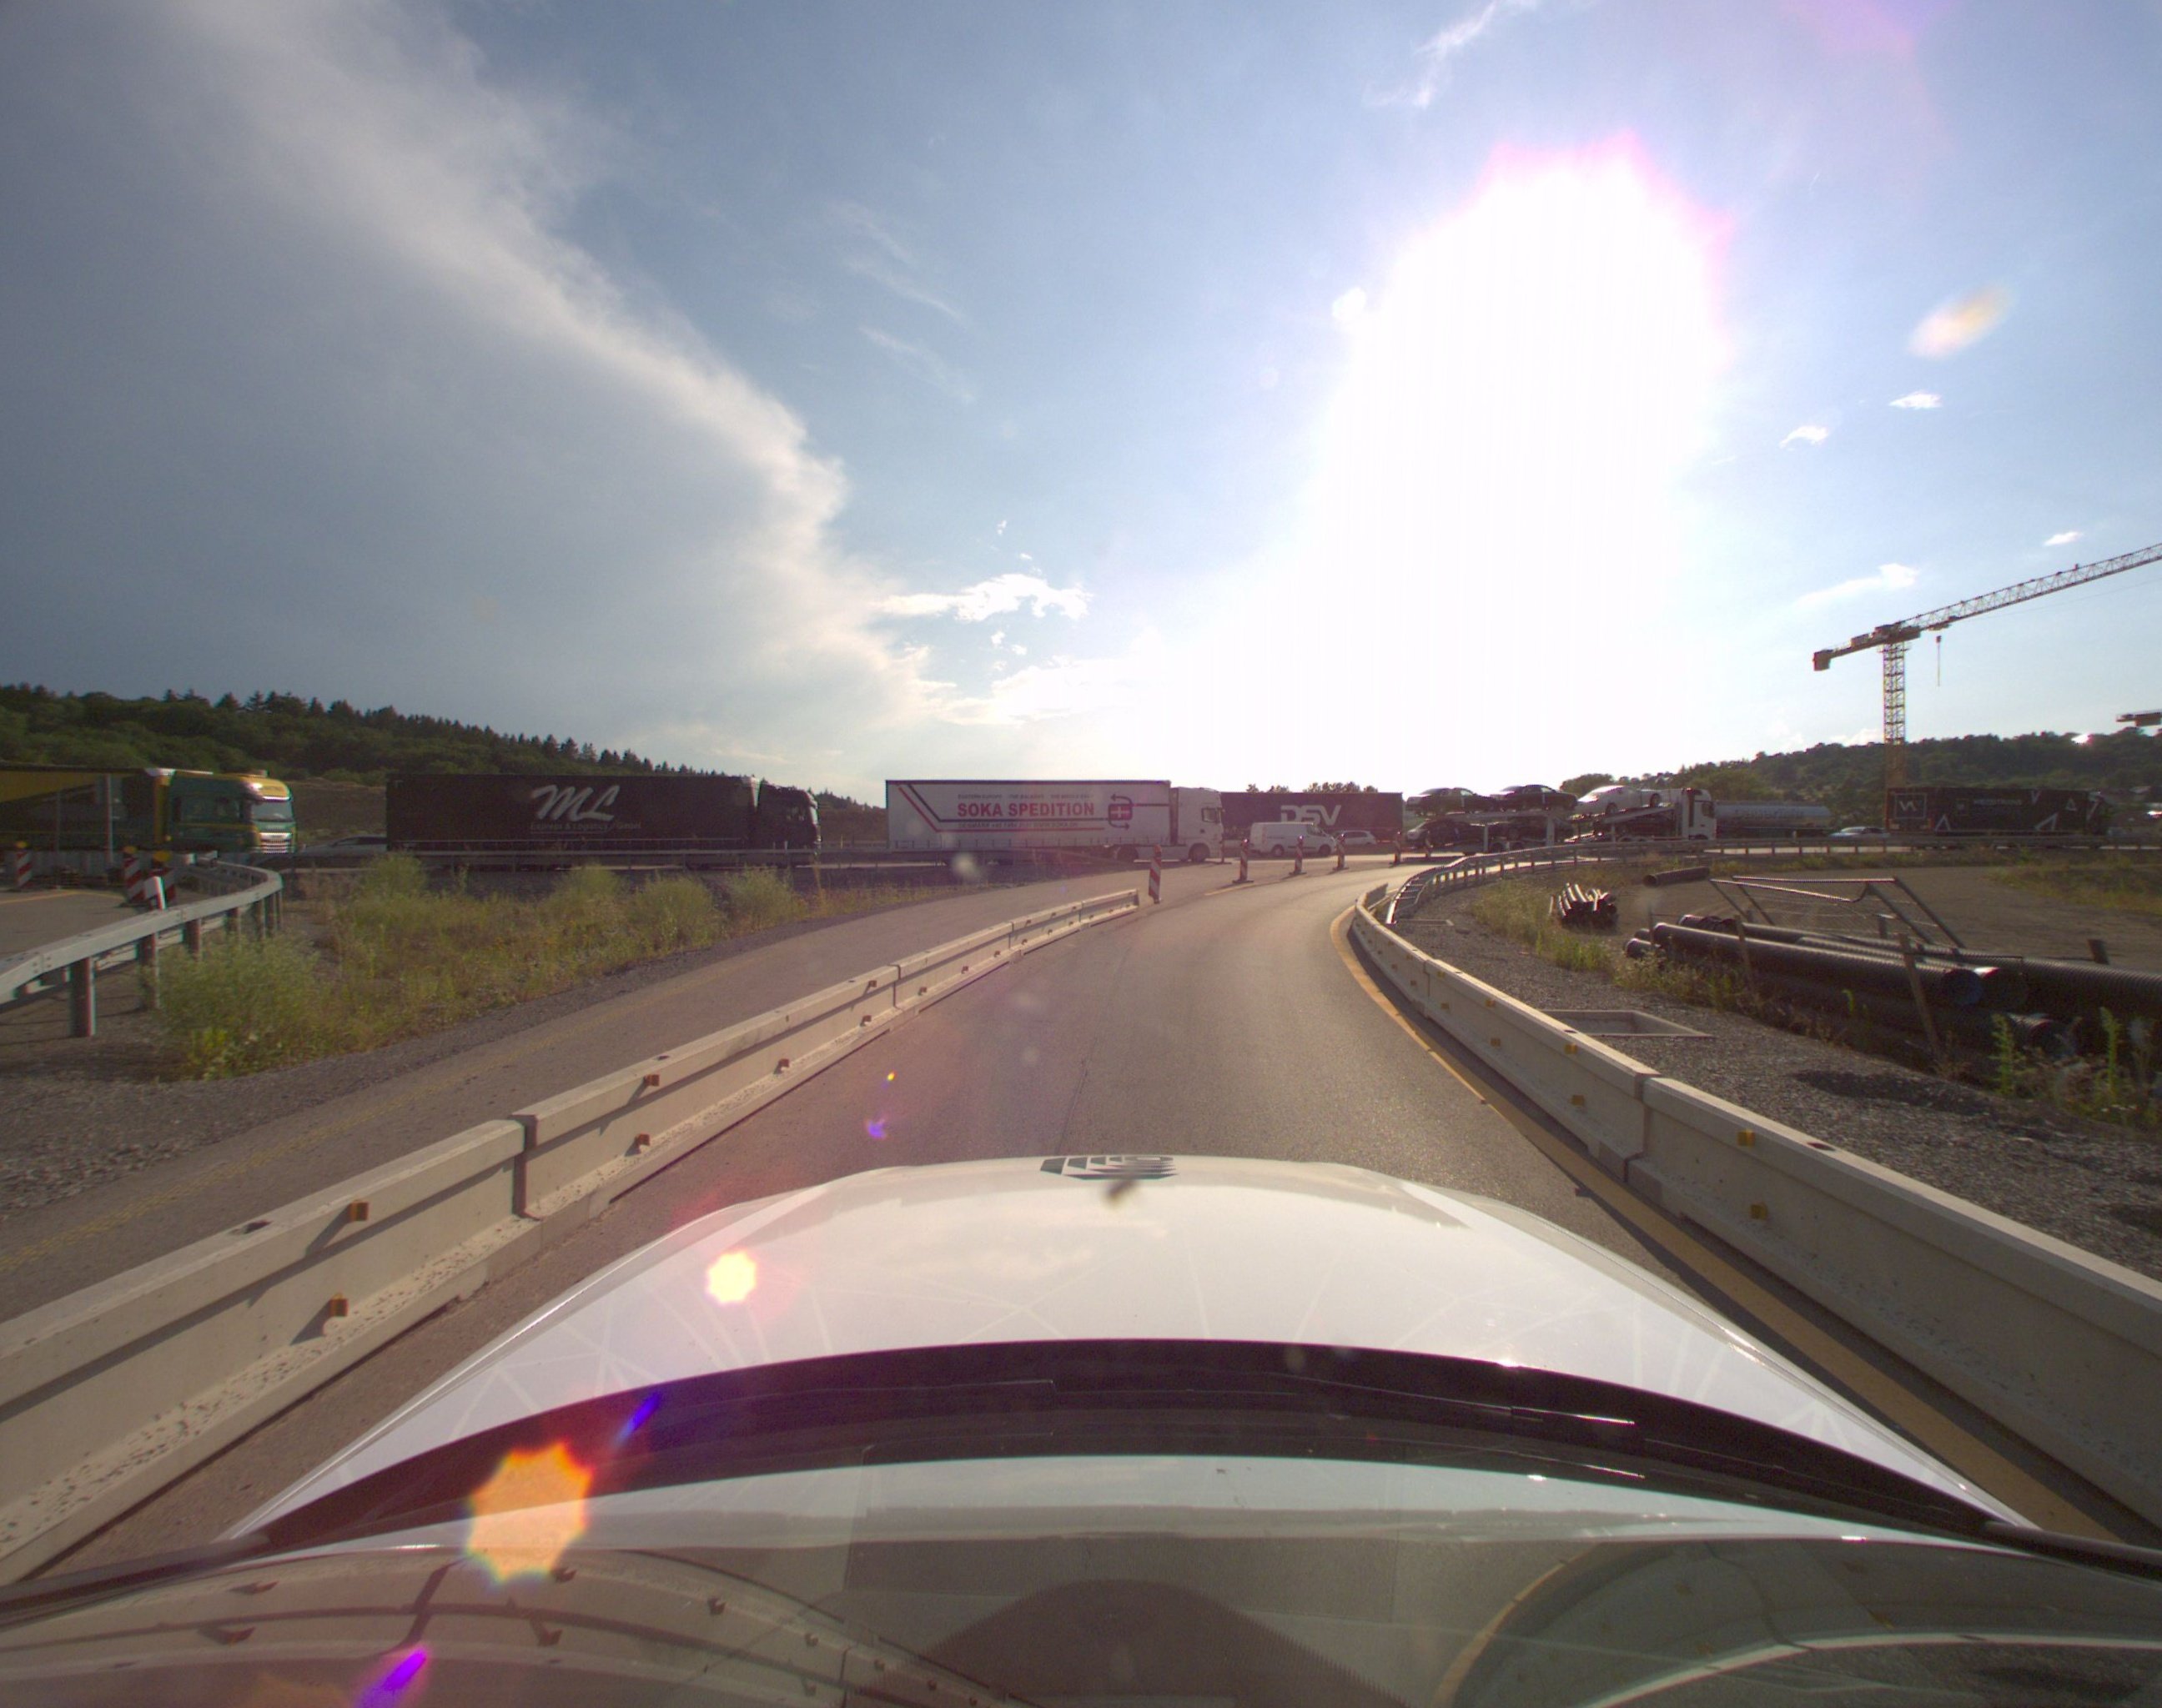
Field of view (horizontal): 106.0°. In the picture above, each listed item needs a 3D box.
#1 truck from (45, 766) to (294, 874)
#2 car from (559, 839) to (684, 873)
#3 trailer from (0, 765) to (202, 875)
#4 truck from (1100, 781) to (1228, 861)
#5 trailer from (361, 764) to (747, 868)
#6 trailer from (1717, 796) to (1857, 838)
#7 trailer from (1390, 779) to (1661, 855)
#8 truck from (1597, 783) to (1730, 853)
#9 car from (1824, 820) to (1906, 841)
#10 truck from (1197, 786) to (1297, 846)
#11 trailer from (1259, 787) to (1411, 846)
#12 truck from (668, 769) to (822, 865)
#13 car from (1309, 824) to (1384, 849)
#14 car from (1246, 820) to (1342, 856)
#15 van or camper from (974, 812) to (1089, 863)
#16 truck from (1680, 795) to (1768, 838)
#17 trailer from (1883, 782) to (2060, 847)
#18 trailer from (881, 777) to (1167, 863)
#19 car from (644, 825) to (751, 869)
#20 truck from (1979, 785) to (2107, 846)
[{"bbox_3d":[-34.942,-1.279,31.472,5.998,3.901,2.478,0,1,-13],"label":"truck"},{"bbox_3d":[-22.863,0.079,40.728,4.967,1.500,2.027,-1,3,-13],"label":"car"},{"bbox_3d":[-41.810,-1.240,29.843,13.944,3.958,2.478,0,1,-13],"label":"trailer"},{"bbox_3d":[4.165,-1.622,41.206,5.999,3.878,2.477,0,1,-14],"label":"truck"},{"bbox_3d":[-21.751,-1.556,34.723,13.610,4.061,2.476,0,1,-15],"label":"trailer"},{"bbox_3d":[54.980,-2.849,63.417,10.954,3.134,2.138,0,-1,-13],"label":"trailer"},{"bbox_3d":[25.339,-2.013,46.290,15.713,3.996,2.854,0,1,-14],"label":"trailer"},{"bbox_3d":[34.703,-2.093,48.551,6.610,3.996,2.845,0,1,-14],"label":"truck"},{"bbox_3d":[58.817,-1.761,61.150,4.967,1.500,2.027,-1,3,-13],"label":"car"},{"bbox_3d":[10.845,-2.443,53.436,5.675,3.727,2.993,0,0,-13],"label":"truck"},{"bbox_3d":[17.087,-2.489,54.858,9.546,3.752,3.004,0,0,-13],"label":"trailer"},{"bbox_3d":[-14.889,-1.615,36.553,6.000,4.059,2.477,0,1,-14],"label":"truck"},{"bbox_3d":[16.705,-1.121,51.311,4.228,1.500,1.655,-1,3,-13],"label":"car"},{"bbox_3d":[12.122,-0.953,46.527,4.967,1.980,2.027,-1,3,-13],"label":"car"},{"bbox_3d":[-2.635,-0.901,43.326,5.889,2.619,1.992,0,1,-13],"label":"van or camper"},{"bbox_3d":[49.049,-2.849,62.120,5.674,3.134,2.138,0,-1,-12],"label":"truck"},{"bbox_3d":[59.229,-2.541,54.191,10.766,4.091,2.956,0,0,-12],"label":"trailer"},{"bbox_3d":[-2.650,-1.606,39.489,13.603,3.878,2.477,0,1,-14],"label":"trailer"},{"bbox_3d":[-18.020,-0.310,38.430,4.323,2.014,1.519,0,0,-14],"label":"car"},{"bbox_3d":[65.650,-2.580,55.620,6.608,3.996,2.883,0,1,-12],"label":"truck"}]
